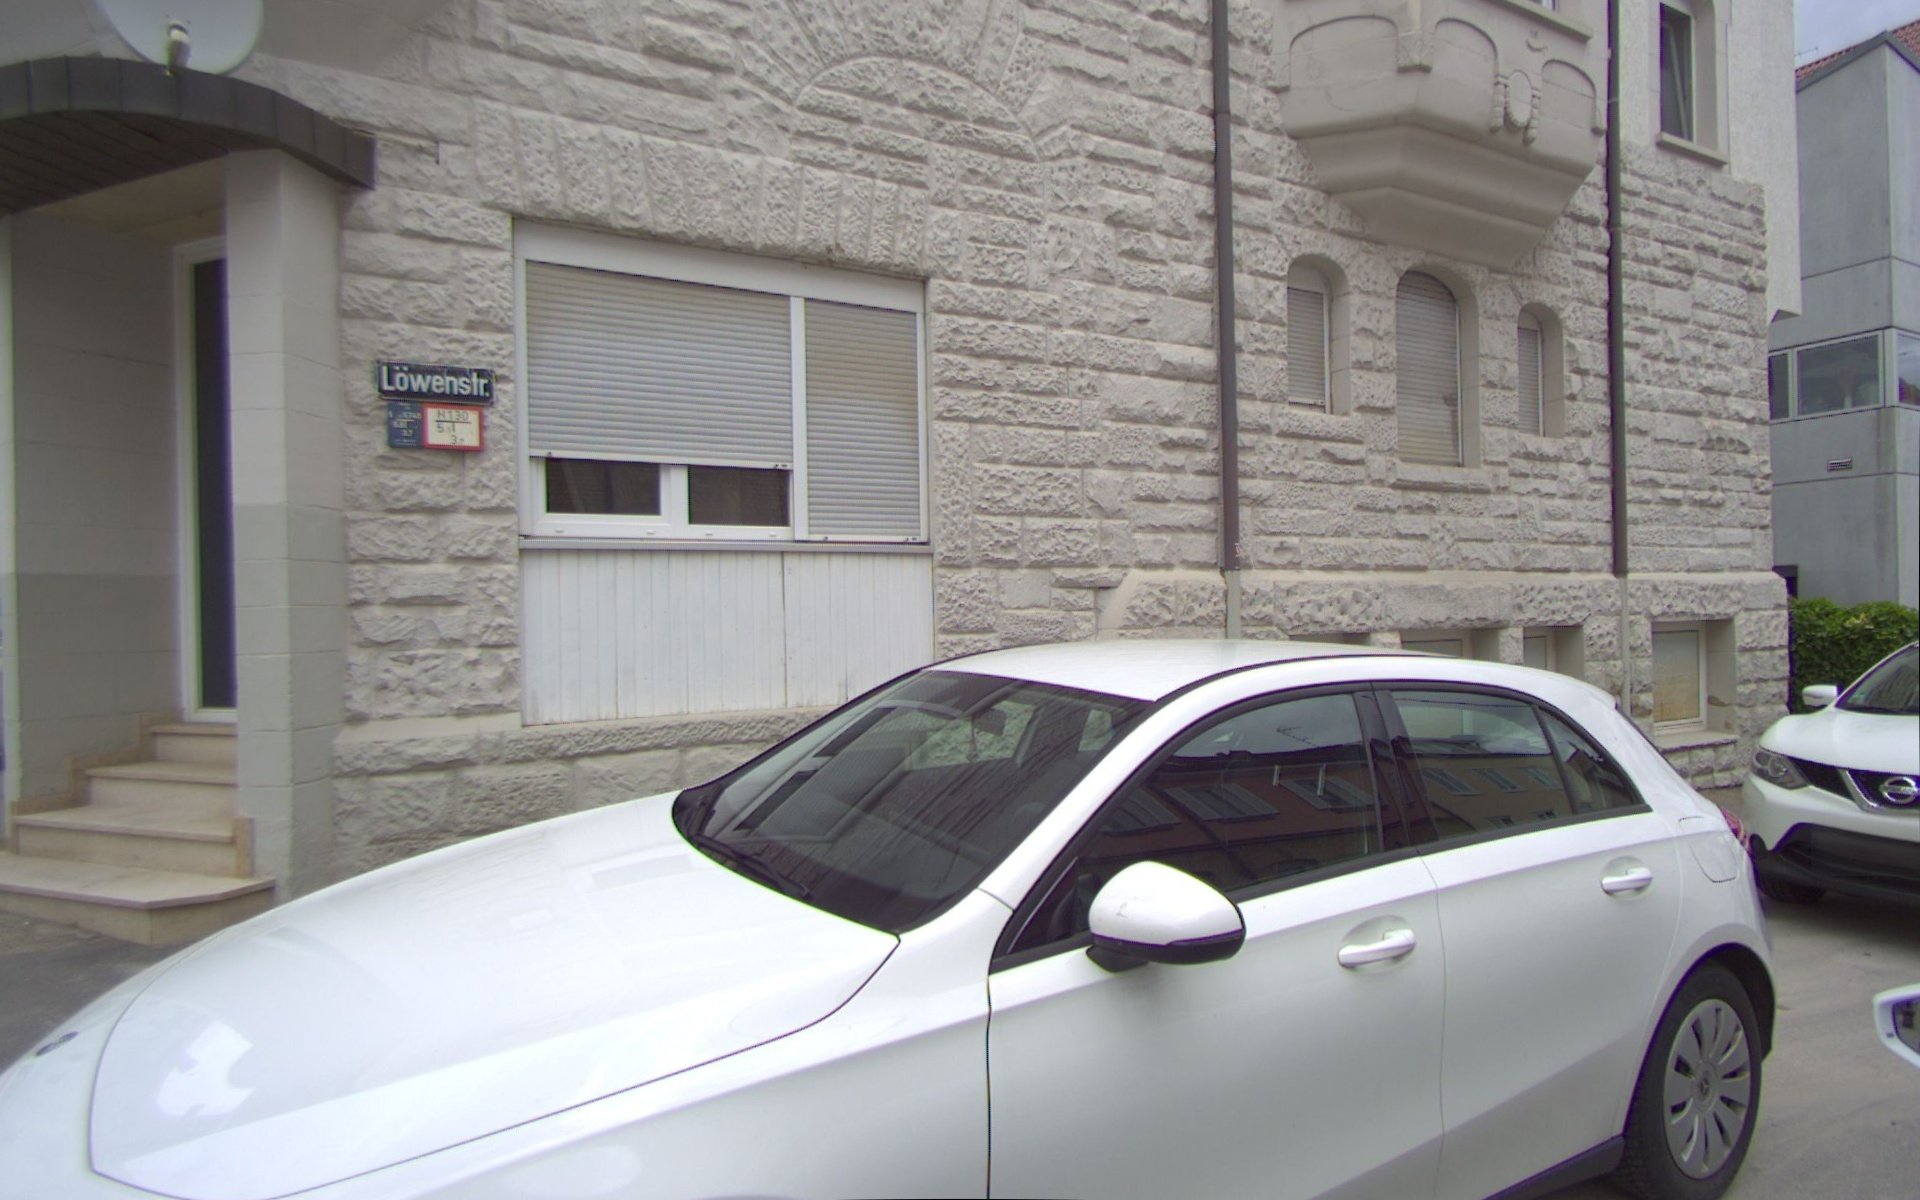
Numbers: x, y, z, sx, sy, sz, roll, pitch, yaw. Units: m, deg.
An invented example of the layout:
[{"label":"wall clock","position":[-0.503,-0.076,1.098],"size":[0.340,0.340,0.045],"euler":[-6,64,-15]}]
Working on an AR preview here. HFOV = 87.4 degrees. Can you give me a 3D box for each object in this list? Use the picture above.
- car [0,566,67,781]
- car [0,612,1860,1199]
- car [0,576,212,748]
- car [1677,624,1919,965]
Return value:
[{"label":"car","position":[-7.717,0.551,6.445],"size":[1.800,1.620,4.004],"euler":[0,0,-24]},{"label":"car","position":[0.374,0.790,2.602],"size":[4.190,1.432,1.691],"euler":[2,-2,-30]},{"label":"car","position":[-9.660,0.540,10.838],"size":[1.650,1.553,4.003],"euler":[1,0,-24]},{"label":"car","position":[6.130,0.937,5.658],"size":[4.190,1.535,1.837],"euler":[2,-2,-30]}]
